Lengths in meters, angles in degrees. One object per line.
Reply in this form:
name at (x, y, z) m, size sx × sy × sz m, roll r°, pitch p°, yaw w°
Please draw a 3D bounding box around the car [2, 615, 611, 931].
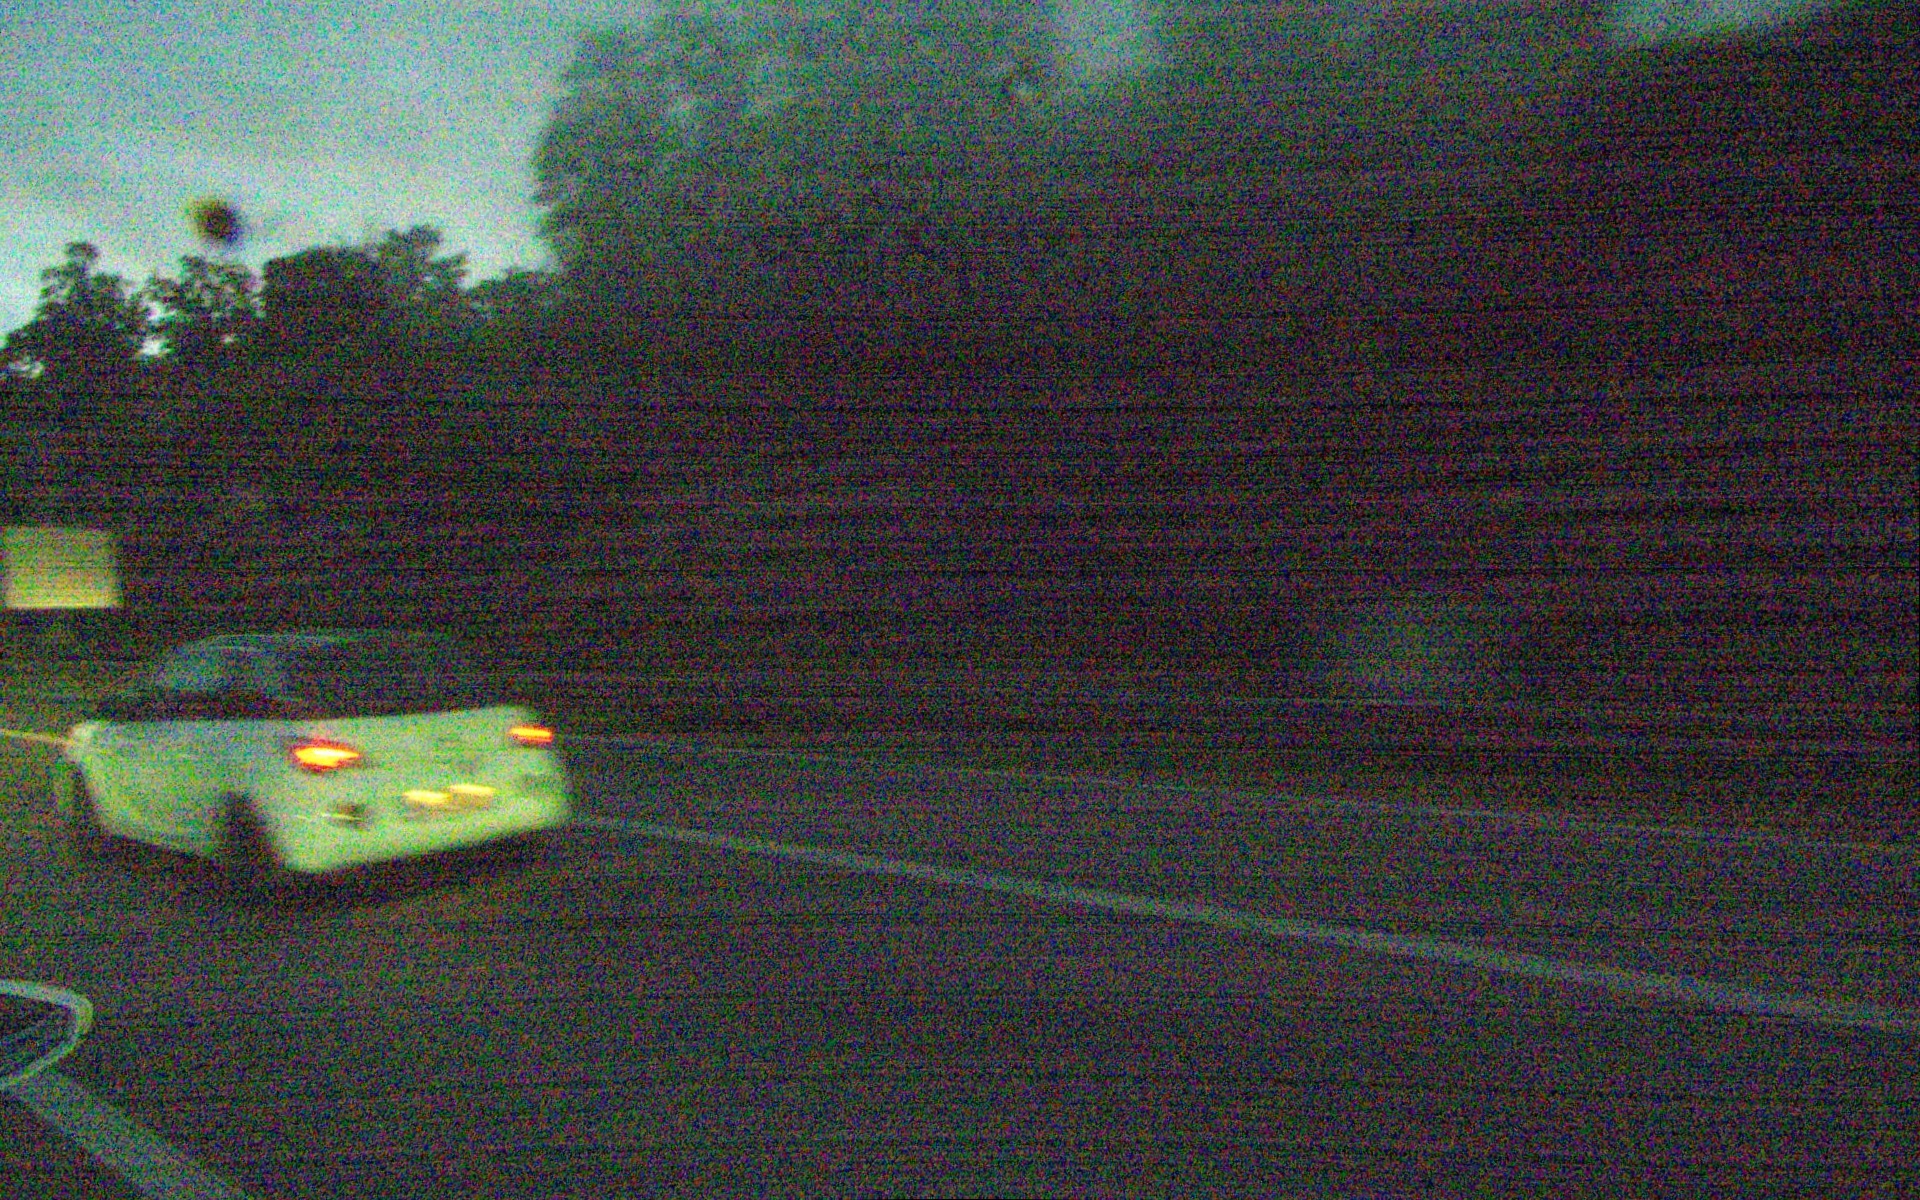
car at (-4.516, 0.859, 6.741) m, size 4.335 × 1.495 × 1.822 m, roll 0°, pitch 0°, yaw 32°
